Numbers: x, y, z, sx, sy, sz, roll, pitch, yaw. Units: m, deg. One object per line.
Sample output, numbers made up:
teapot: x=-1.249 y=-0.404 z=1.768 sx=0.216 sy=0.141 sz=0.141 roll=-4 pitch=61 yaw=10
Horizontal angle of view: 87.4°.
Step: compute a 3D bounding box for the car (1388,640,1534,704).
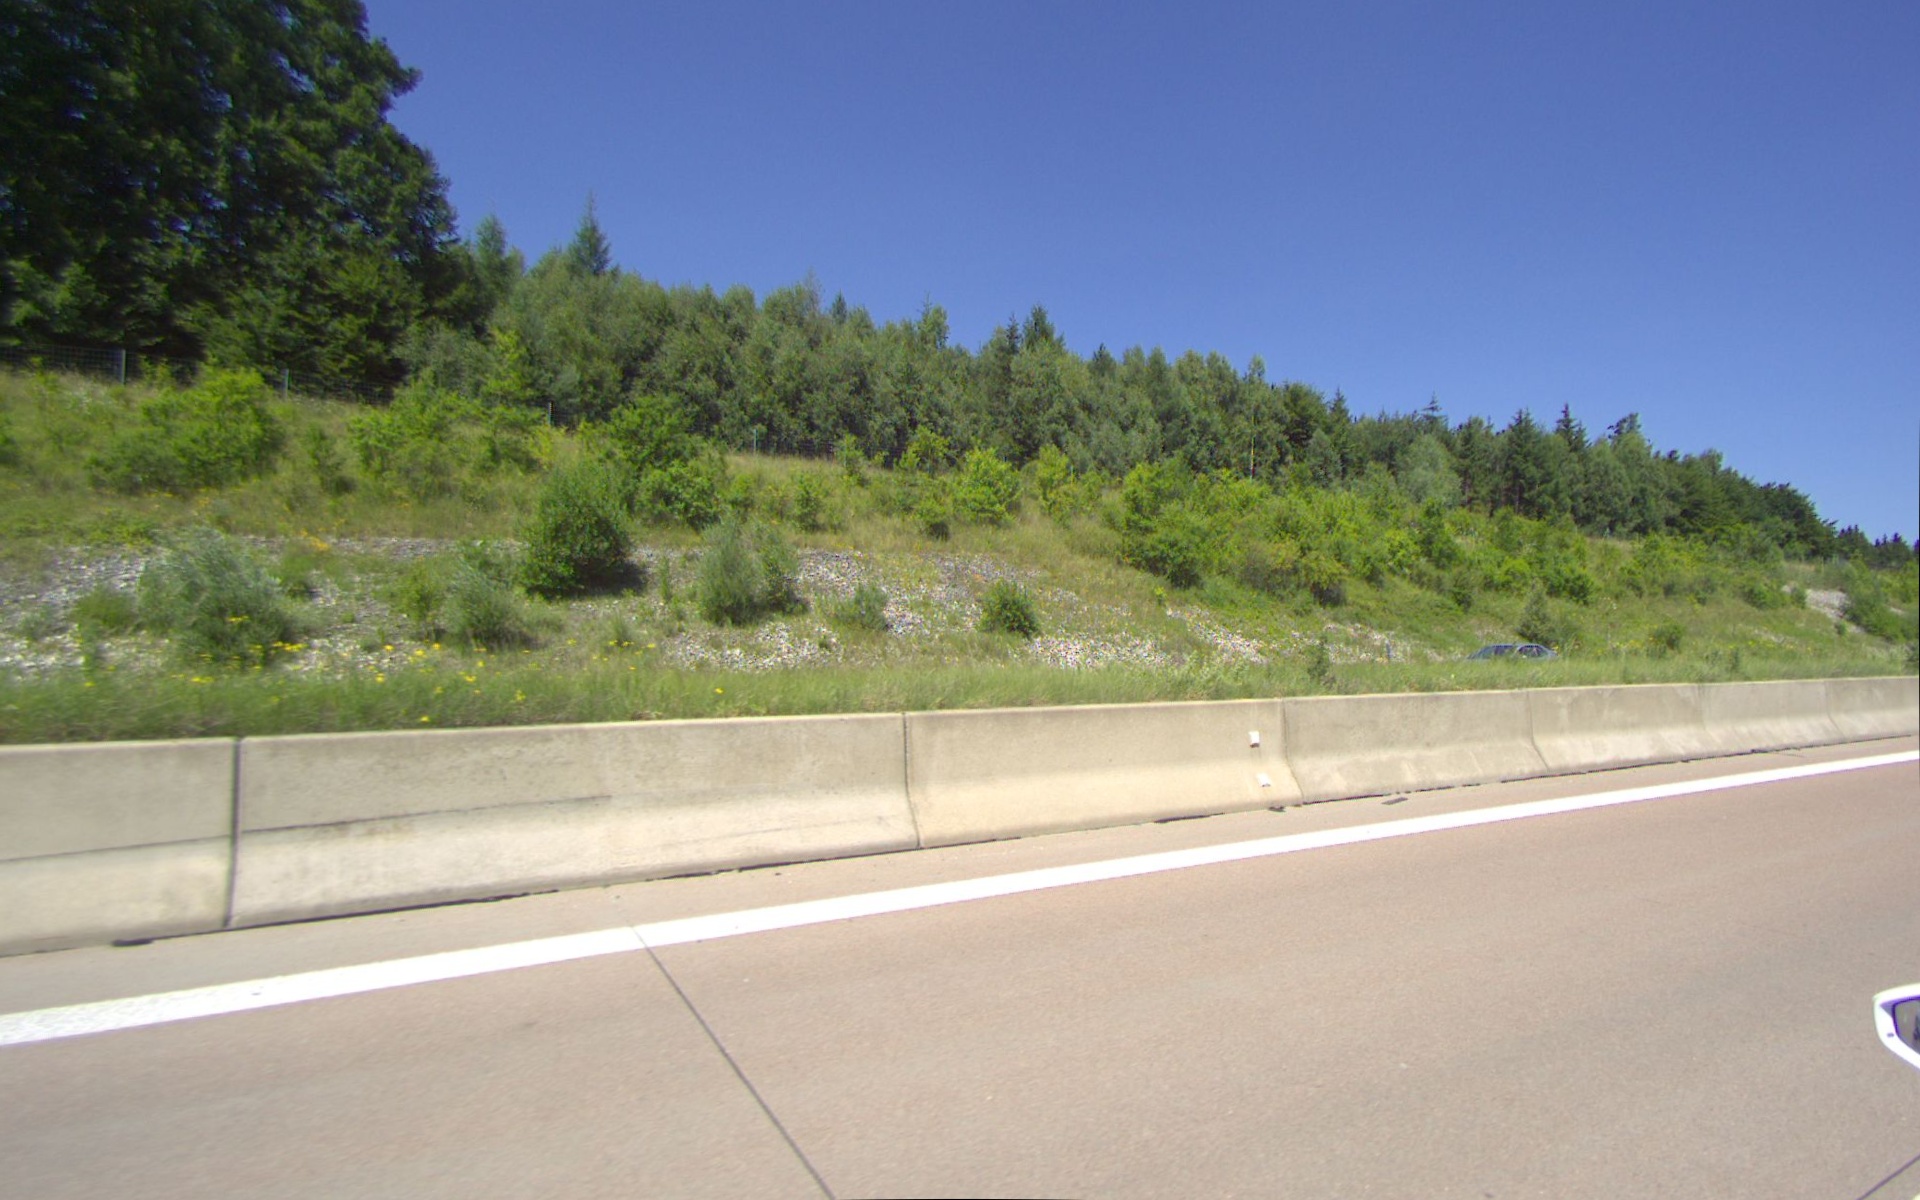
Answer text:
car: x=15.188 y=2.115 z=30.401 sx=4.612 sy=1.674 sz=1.880 roll=0 pitch=0 yaw=-33
